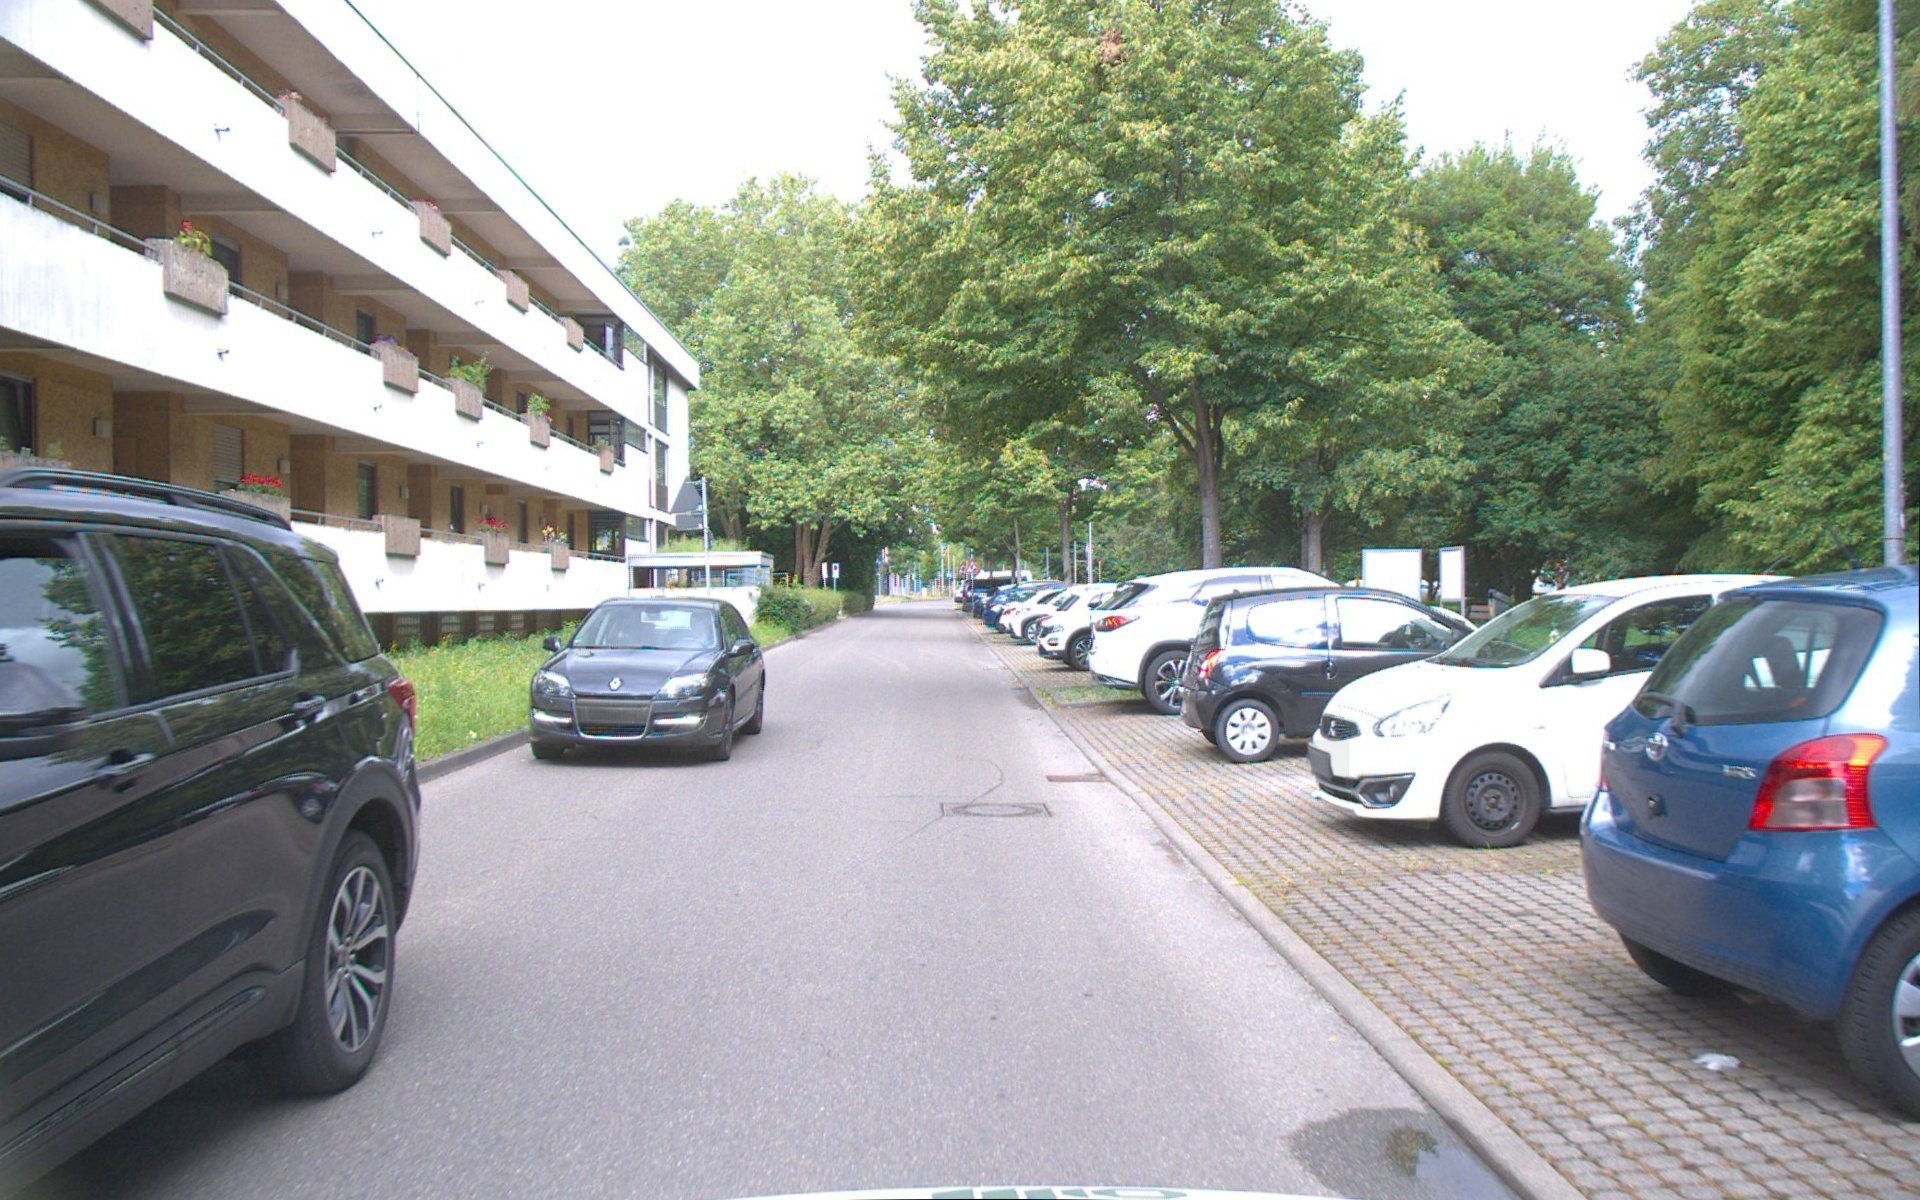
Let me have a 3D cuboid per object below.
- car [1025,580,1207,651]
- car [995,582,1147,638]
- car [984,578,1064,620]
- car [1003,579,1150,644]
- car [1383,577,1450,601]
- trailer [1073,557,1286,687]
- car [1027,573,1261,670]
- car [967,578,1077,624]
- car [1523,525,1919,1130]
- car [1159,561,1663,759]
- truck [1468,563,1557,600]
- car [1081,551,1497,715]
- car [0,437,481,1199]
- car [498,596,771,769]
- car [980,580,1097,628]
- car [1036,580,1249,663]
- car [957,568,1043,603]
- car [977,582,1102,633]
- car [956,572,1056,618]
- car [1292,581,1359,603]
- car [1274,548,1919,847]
[{"bbox_3d":[3.579,0.353,38.513,3.973,1.447,1.816,-2,0,-3],"label":"car"},{"bbox_3d":[3.295,0.293,49.693,4.395,1.480,1.846,-2,0,-1],"label":"car"},{"bbox_3d":[2.710,-0.048,70.518,3.310,1.602,1.796,-2,1,-1],"label":"car"},{"bbox_3d":[3.047,0.291,43.857,3.761,1.542,1.881,-2,0,1],"label":"car"},{"bbox_3d":[31.431,-0.749,114.031,4.192,1.553,1.704,-1,0,6],"label":"car"},{"bbox_3d":[3.360,0.327,25.671,2.970,1.822,1.562,-2,0,-4],"label":"trailer"},{"bbox_3d":[3.370,0.377,30.779,4.032,1.575,1.859,-2,0,-4],"label":"car"},{"bbox_3d":[2.513,0.026,67.908,4.326,1.705,2.082,-2,1,-2],"label":"car"},{"bbox_3d":[4.179,0.557,5.391,4.052,1.598,1.785,-1,0,-3],"label":"car"},{"bbox_3d":[3.963,0.507,15.065,4.073,1.598,1.851,-1,0,0],"label":"car"},{"bbox_3d":[37.857,-1.255,113.481,5.390,2.468,2.194,-1,0,5],"label":"truck"},{"bbox_3d":[3.921,0.388,20.387,4.718,1.723,1.974,-2,0,2],"label":"car"},{"bbox_3d":[-2.626,0.586,3.460,1.874,1.747,5.057,0,0,-1],"label":"car"},{"bbox_3d":[-2.951,0.680,15.946,1.875,1.436,4.422,0,0,-2],"label":"car"},{"bbox_3d":[2.812,0.133,59.901,3.993,1.543,1.849,-2,0,-5],"label":"car"},{"bbox_3d":[3.644,0.416,33.386,3.931,1.447,1.790,-2,0,-7],"label":"car"},{"bbox_3d":[2.911,-1.050,122.019,6.133,2.519,2.137,1,0,-4],"label":"car"},{"bbox_3d":[2.611,0.234,54.768,3.989,1.481,1.851,-2,0,-1],"label":"car"},{"bbox_3d":[2.302,-0.267,83.447,4.853,2.048,2.166,-3,0,0],"label":"car"},{"bbox_3d":[25.298,-0.576,114.685,4.335,1.453,1.704,-1,0,6],"label":"car"},{"bbox_3d":[4.204,0.524,10.281,4.078,1.598,1.784,-1,0,-6],"label":"car"}]
